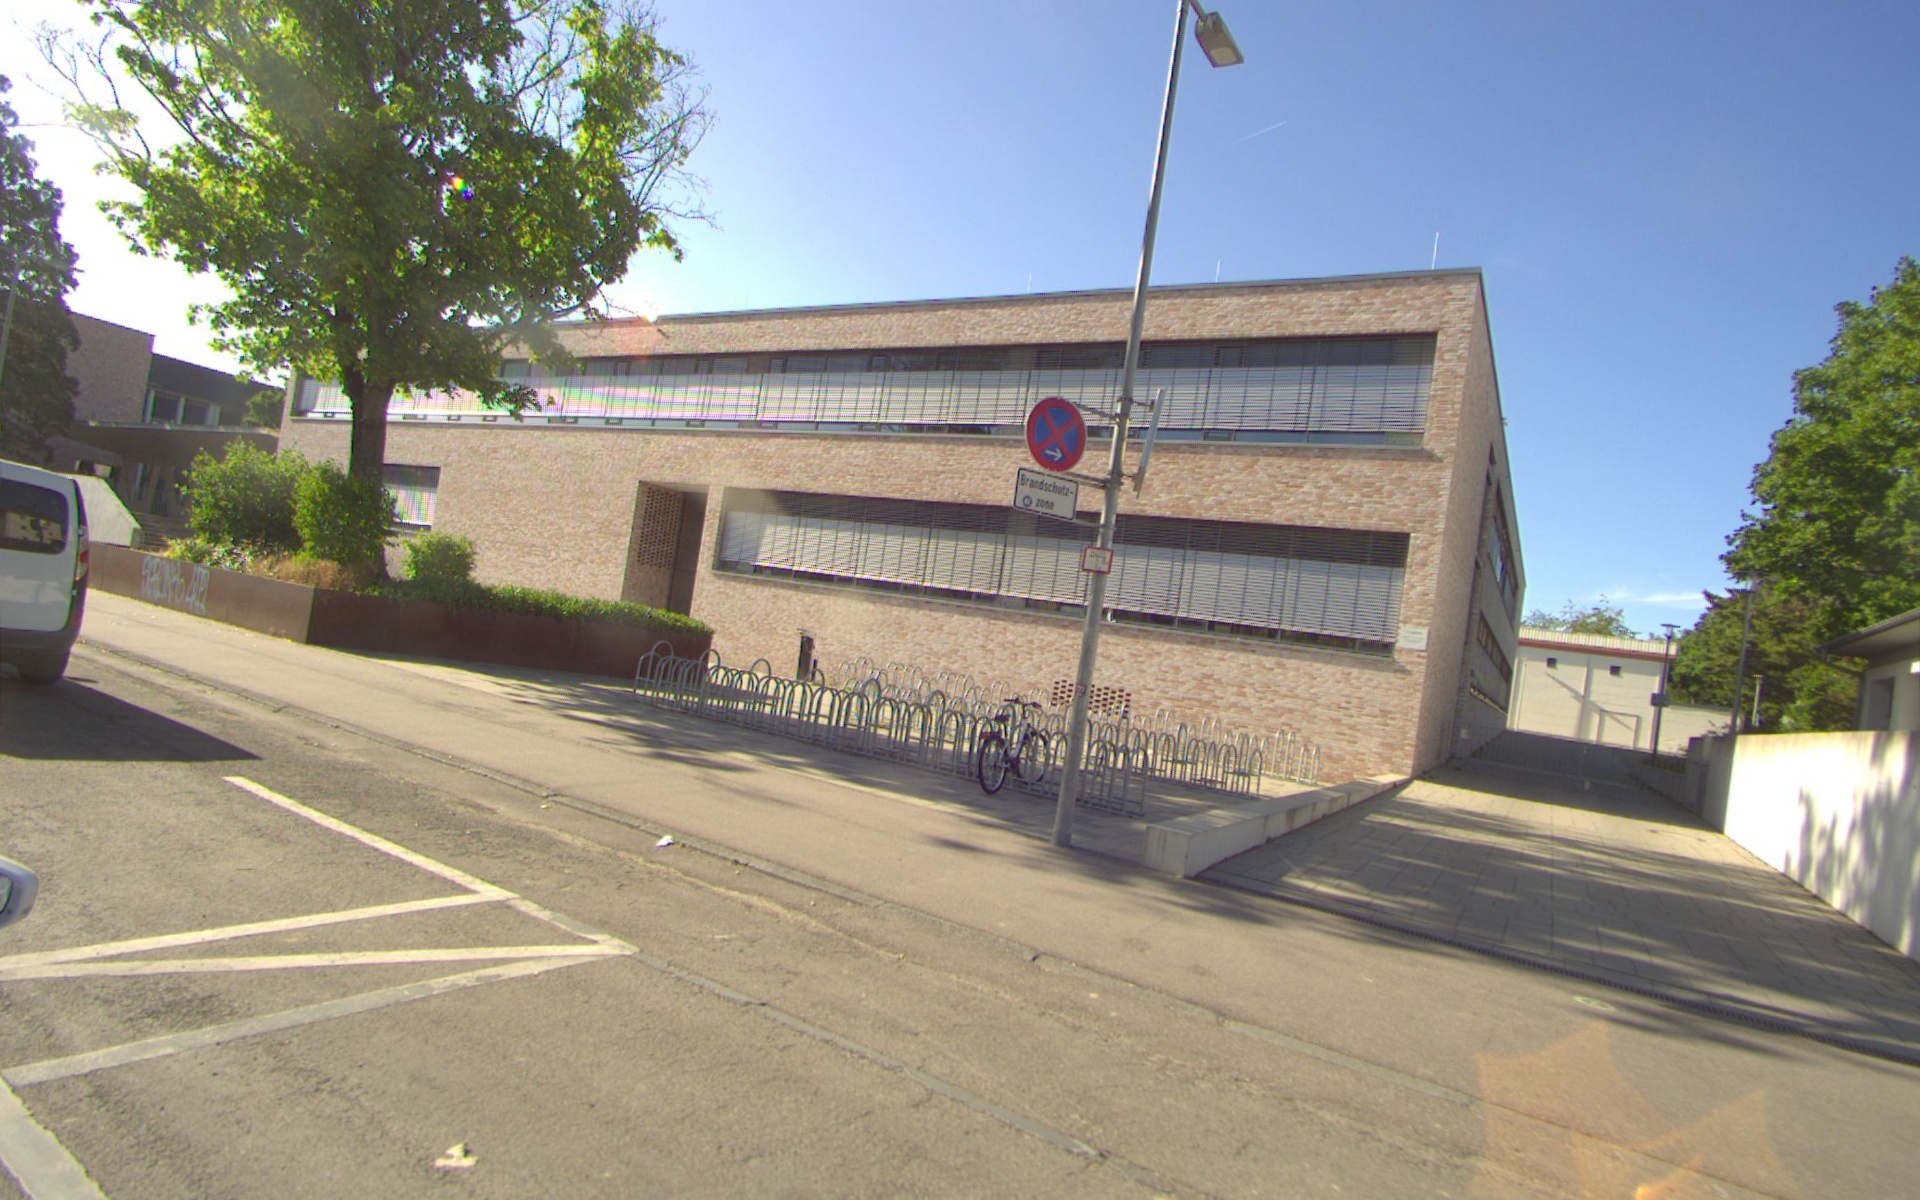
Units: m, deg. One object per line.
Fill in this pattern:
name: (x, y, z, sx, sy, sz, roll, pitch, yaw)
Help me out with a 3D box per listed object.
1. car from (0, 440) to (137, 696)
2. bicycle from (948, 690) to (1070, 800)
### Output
car: (-9.352, -0.512, 8.748, 4.386, 1.929, 1.813, 7, -3, 31)
bicycle: (0.569, 1.584, 10.933, 0.491, 1.040, 1.674, 8, -4, 30)
